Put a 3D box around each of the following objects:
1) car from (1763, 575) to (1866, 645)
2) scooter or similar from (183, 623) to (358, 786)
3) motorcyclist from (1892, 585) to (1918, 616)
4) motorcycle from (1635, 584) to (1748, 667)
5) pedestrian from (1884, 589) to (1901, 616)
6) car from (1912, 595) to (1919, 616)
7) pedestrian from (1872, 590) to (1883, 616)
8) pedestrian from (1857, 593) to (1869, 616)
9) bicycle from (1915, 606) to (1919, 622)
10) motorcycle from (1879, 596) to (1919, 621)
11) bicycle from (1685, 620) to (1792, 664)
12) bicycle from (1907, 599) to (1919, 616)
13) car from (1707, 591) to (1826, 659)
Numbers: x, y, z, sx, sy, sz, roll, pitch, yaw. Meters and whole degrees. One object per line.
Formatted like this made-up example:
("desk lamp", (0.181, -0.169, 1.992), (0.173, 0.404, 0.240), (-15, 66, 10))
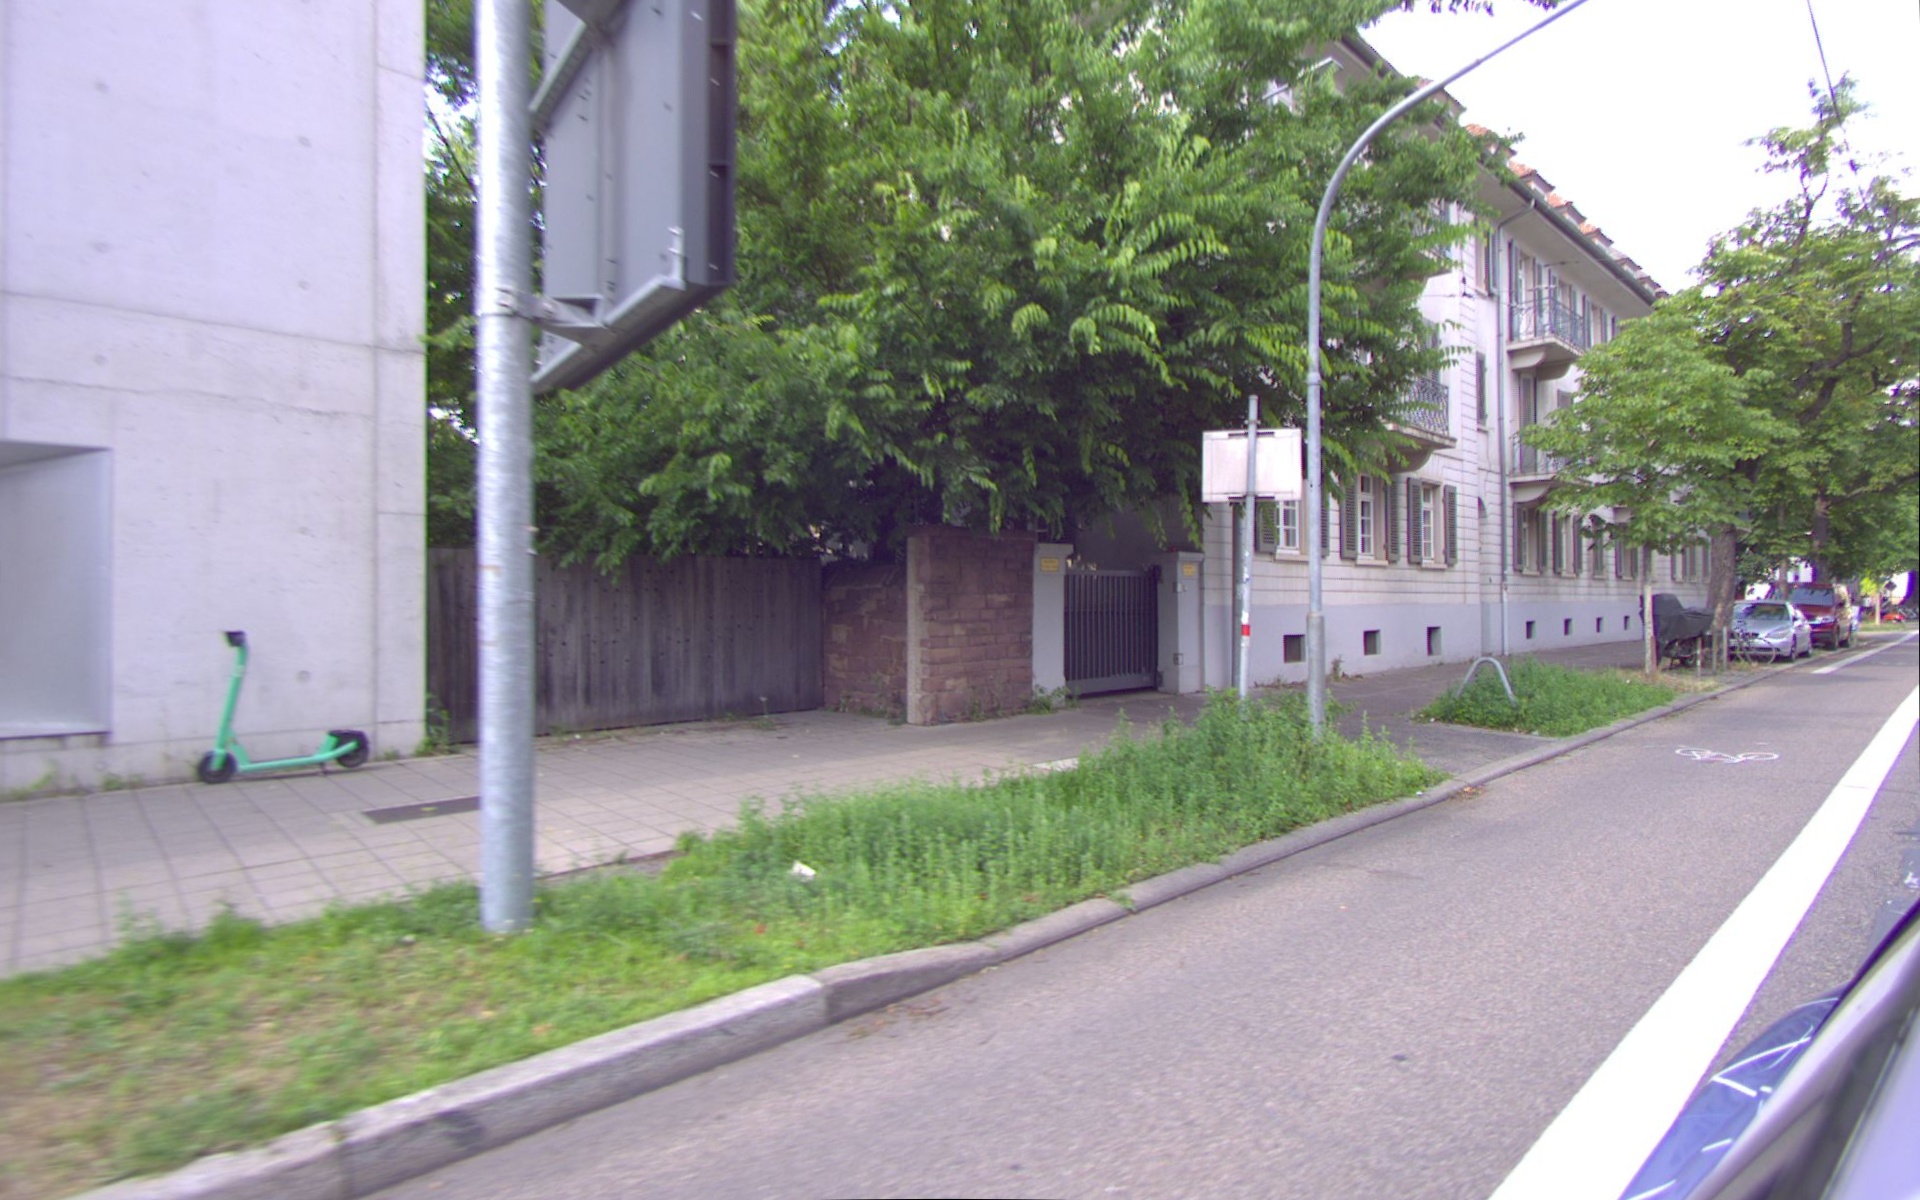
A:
("car", (25.928, 0.278, 30.658), (4.868, 1.966, 1.896), (0, -1, -44))
("scooter or similar", (-5.439, 0.797, 8.039), (1.125, 1.196, 0.324), (0, -1, -31))
("motorcyclist", (54.648, 0.036, 58.536), (0.726, 1.736, 0.922), (0, -1, -30))
("motorcycle", (14.675, 0.485, 20.289), (2.392, 1.561, 0.984), (0, -1, -32))
("pedestrian", (66.751, 0.211, 72.444), (0.871, 1.913, 0.754), (1, -2, -44))
("car", (68.093, 0.400, 71.068), (3.833, 1.463, 1.586), (0, -1, -44))
("pedestrian", (66.090, 0.211, 72.888), (0.676, 1.876, 0.505), (1, -2, -44))
("pedestrian", (66.028, 0.302, 73.995), (0.960, 1.660, 0.581), (1, -2, -44))
("bicycle", (64.836, 0.941, 67.439), (0.342, 1.084, 1.650), (0, -1, -39))
("motorcycle", (54.646, 0.492, 58.533), (0.727, 1.377, 2.090), (0, -1, -30))
("bicycle", (17.349, 0.918, 22.574), (0.679, 0.914, 1.779), (0, -1, -40))
("bicycle", (60.992, 0.501, 64.228), (0.470, 1.080, 1.268), (0, -2, -44))
("car", (20.015, 0.560, 25.040), (4.709, 1.517, 1.708), (0, -1, -44))
